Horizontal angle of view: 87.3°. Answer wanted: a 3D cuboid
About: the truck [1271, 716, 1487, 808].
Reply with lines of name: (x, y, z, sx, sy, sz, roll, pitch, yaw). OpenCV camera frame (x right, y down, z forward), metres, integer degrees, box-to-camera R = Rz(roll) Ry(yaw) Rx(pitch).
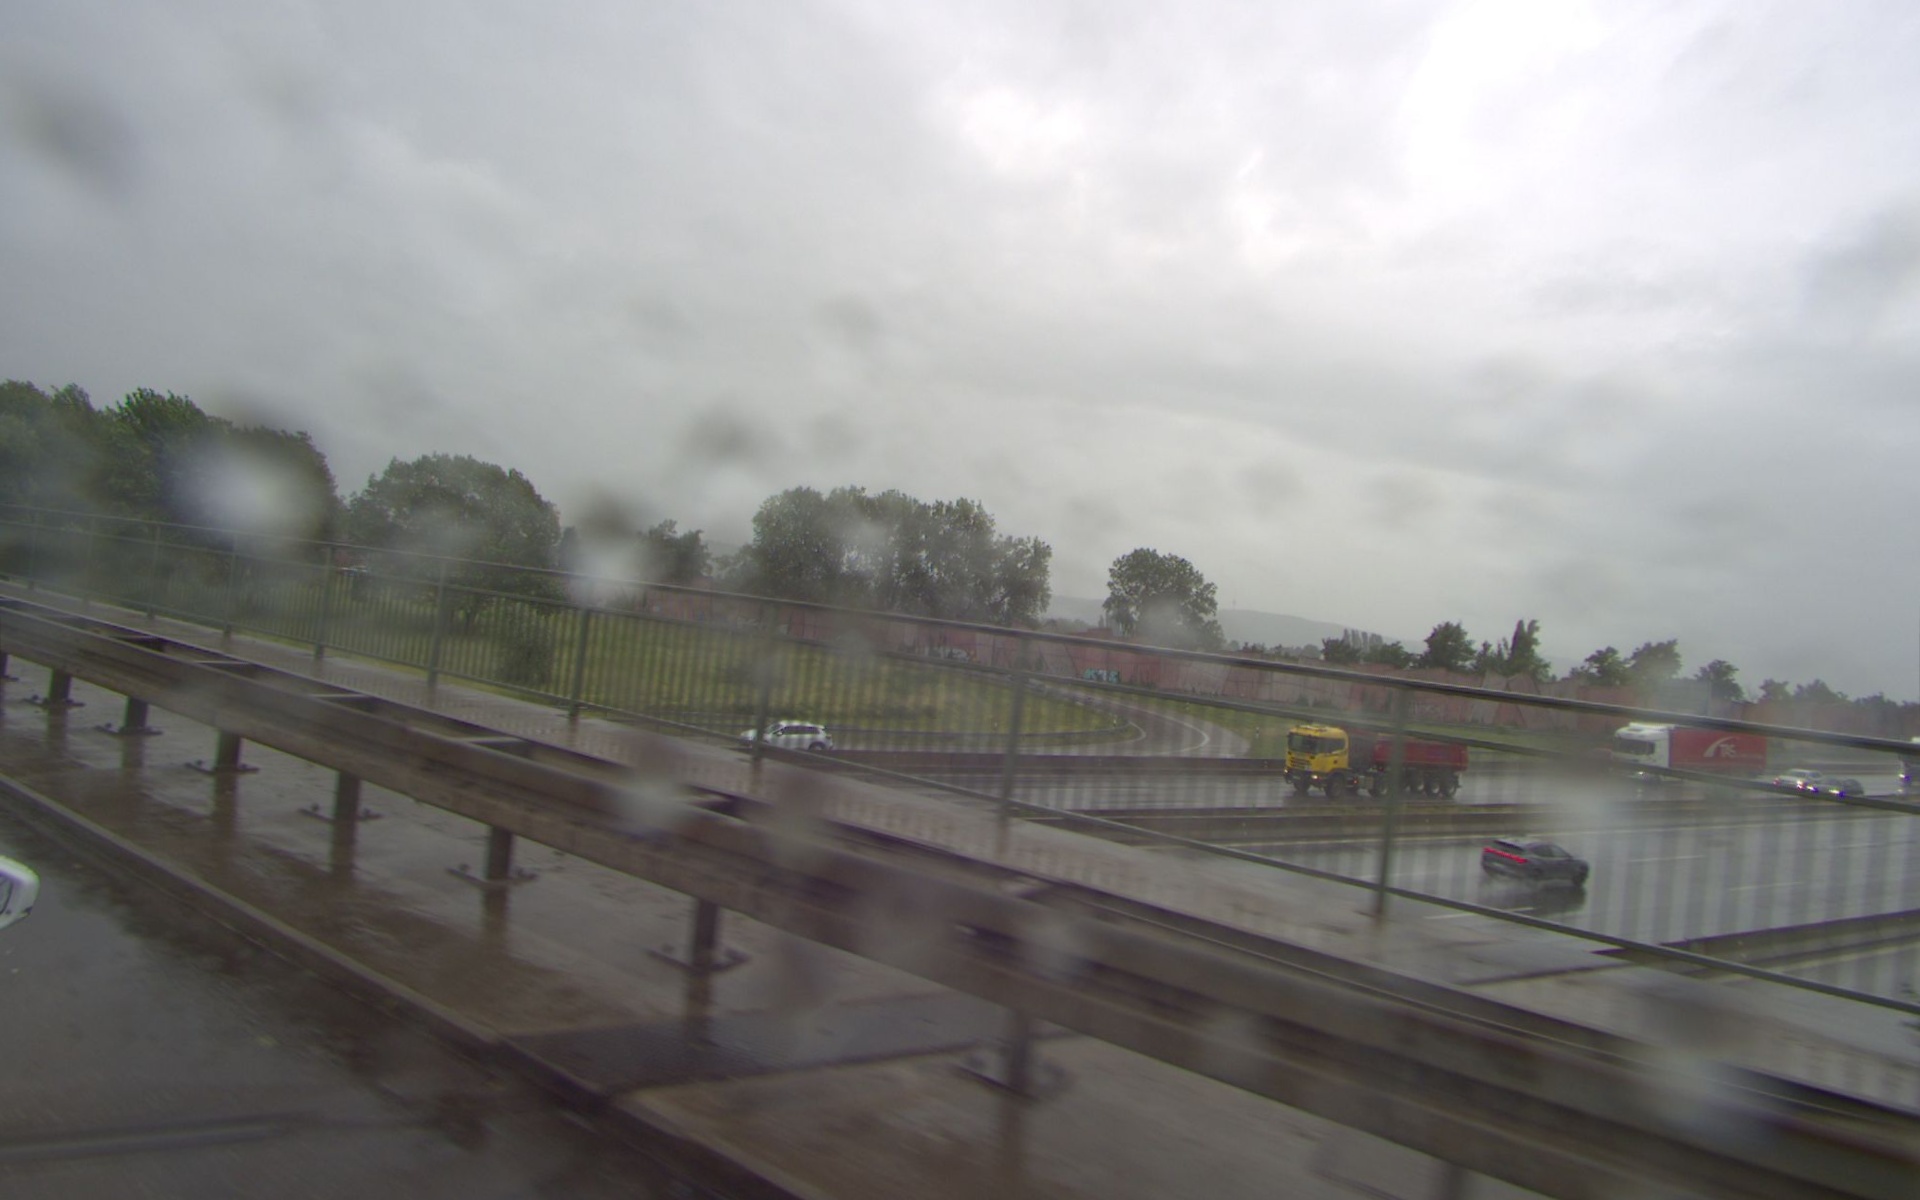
truck: (22.543, 8.692, 53.736, 12.230, 3.792, 3.126, 8, -3, -26)

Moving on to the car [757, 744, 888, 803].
car: (-5.604, 7.094, 41.081, 4.781, 1.713, 1.988, 11, -5, -28)

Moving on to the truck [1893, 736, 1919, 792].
truck: (85.771, 14.373, 86.961, 12.222, 4.496, 3.126, 6, -2, -26)

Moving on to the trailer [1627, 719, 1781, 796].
trailer: (55.758, 11.855, 75.230, 13.668, 5.007, 3.126, 6, -2, -26)

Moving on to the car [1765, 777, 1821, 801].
car: (61.862, 14.042, 74.695, 3.950, 1.516, 1.797, 6, -3, -27)

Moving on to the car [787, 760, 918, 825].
car: (-3.753, 6.754, 35.254, 3.958, 1.634, 1.988, 11, -5, -28)

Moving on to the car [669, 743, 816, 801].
car: (-8.022, 6.367, 37.216, 4.881, 1.428, 1.988, 11, -5, -28)

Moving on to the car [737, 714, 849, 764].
car: (-8.072, 6.718, 48.704, 4.781, 1.713, 1.988, 11, -5, -28)

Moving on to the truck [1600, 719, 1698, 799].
truck: (49.294, 11.380, 72.008, 5.730, 5.175, 3.126, 5, -2, -26)

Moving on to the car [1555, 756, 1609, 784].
car: (49.355, 13.471, 79.832, 3.957, 1.600, 1.797, 11, -5, -27)
